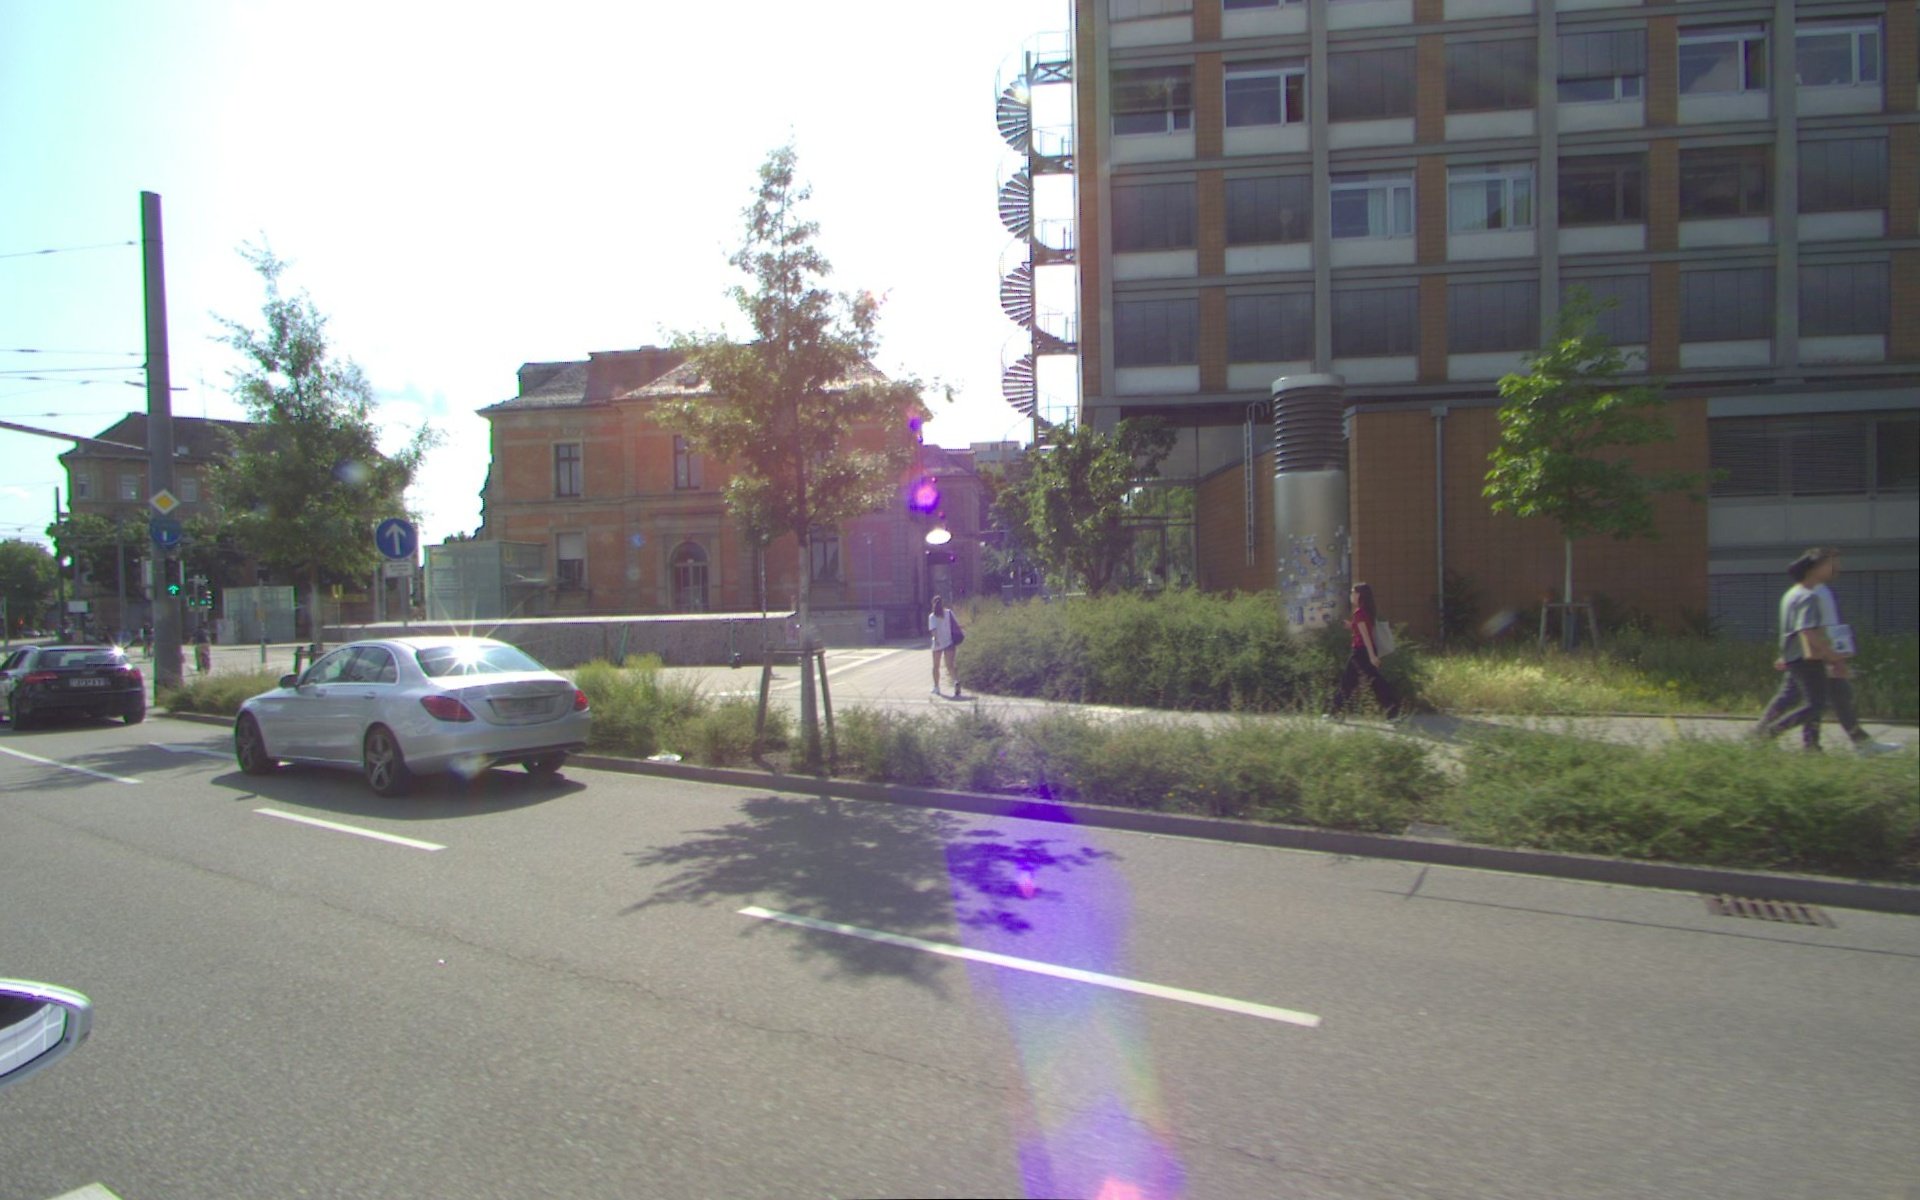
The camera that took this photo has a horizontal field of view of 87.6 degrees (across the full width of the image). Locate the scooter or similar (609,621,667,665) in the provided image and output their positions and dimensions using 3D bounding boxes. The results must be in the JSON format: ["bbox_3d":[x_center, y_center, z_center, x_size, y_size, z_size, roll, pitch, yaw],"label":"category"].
[{"bbox_3d":[-8.640,1.144,26.895,1.420,1.133,0.465,-1,1,12],"label":"scooter or similar"}]

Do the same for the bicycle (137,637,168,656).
[{"bbox_3d":[-35.227,2.014,43.673,1.599,0.786,0.583,-2,0,34],"label":"bicycle"}]

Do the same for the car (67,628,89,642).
[{"bbox_3d":[-113.479,4.491,128.885,1.820,1.673,3.971,0,-2,-37],"label":"car"}]

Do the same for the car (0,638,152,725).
[{"bbox_3d":[-16.309,1.409,18.195,4.082,1.390,1.692,-2,-2,38],"label":"car"}]

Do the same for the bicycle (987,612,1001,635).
[{"bbox_3d":[1.567,1.053,45.954,0.536,1.002,1.507,-4,0,4],"label":"bicycle"}]

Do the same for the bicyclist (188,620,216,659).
[{"bbox_3d":[-25.292,1.303,33.421,0.628,1.237,0.918,-3,2,-34],"label":"bicyclist"}]

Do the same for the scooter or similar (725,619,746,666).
[{"bbox_3d":[-5.727,1.069,25.521,0.457,1.119,1.316,-2,1,-13],"label":"scooter or similar"}]

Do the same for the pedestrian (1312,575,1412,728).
[{"bbox_3d":[4.549,0.566,11.332,0.878,1.644,0.611,-1,3,37],"label":"pedestrian"}]

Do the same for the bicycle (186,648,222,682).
[{"bbox_3d":[-25.173,2.148,33.374,0.838,0.983,1.947,-4,2,-35],"label":"bicycle"}]

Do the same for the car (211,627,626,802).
[{"bbox_3d":[-5.865,1.056,10.656,4.693,1.474,1.926,-2,-2,34],"label":"car"}]

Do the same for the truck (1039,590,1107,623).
[{"bbox_3d":[7.462,0.448,65.805,4.305,2.039,2.000,-1,-2,11],"label":"truck"}]

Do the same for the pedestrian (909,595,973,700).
[{"bbox_3d":[-0.326,0.765,16.617,0.606,1.644,1.093,-4,2,-23],"label":"pedestrian"}]

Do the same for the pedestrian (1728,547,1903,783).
[{"bbox_3d":[6.831,0.493,8.045,0.875,1.778,0.741,-2,2,25],"label":"pedestrian"}]

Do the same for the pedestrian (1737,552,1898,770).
[{"bbox_3d":[7.348,0.499,8.628,0.876,1.770,0.741,-2,2,27],"label":"pedestrian"}]

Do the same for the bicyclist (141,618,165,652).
[{"bbox_3d":[-35.174,1.530,43.664,0.764,1.470,0.606,-1,0,34],"label":"bicyclist"}]
